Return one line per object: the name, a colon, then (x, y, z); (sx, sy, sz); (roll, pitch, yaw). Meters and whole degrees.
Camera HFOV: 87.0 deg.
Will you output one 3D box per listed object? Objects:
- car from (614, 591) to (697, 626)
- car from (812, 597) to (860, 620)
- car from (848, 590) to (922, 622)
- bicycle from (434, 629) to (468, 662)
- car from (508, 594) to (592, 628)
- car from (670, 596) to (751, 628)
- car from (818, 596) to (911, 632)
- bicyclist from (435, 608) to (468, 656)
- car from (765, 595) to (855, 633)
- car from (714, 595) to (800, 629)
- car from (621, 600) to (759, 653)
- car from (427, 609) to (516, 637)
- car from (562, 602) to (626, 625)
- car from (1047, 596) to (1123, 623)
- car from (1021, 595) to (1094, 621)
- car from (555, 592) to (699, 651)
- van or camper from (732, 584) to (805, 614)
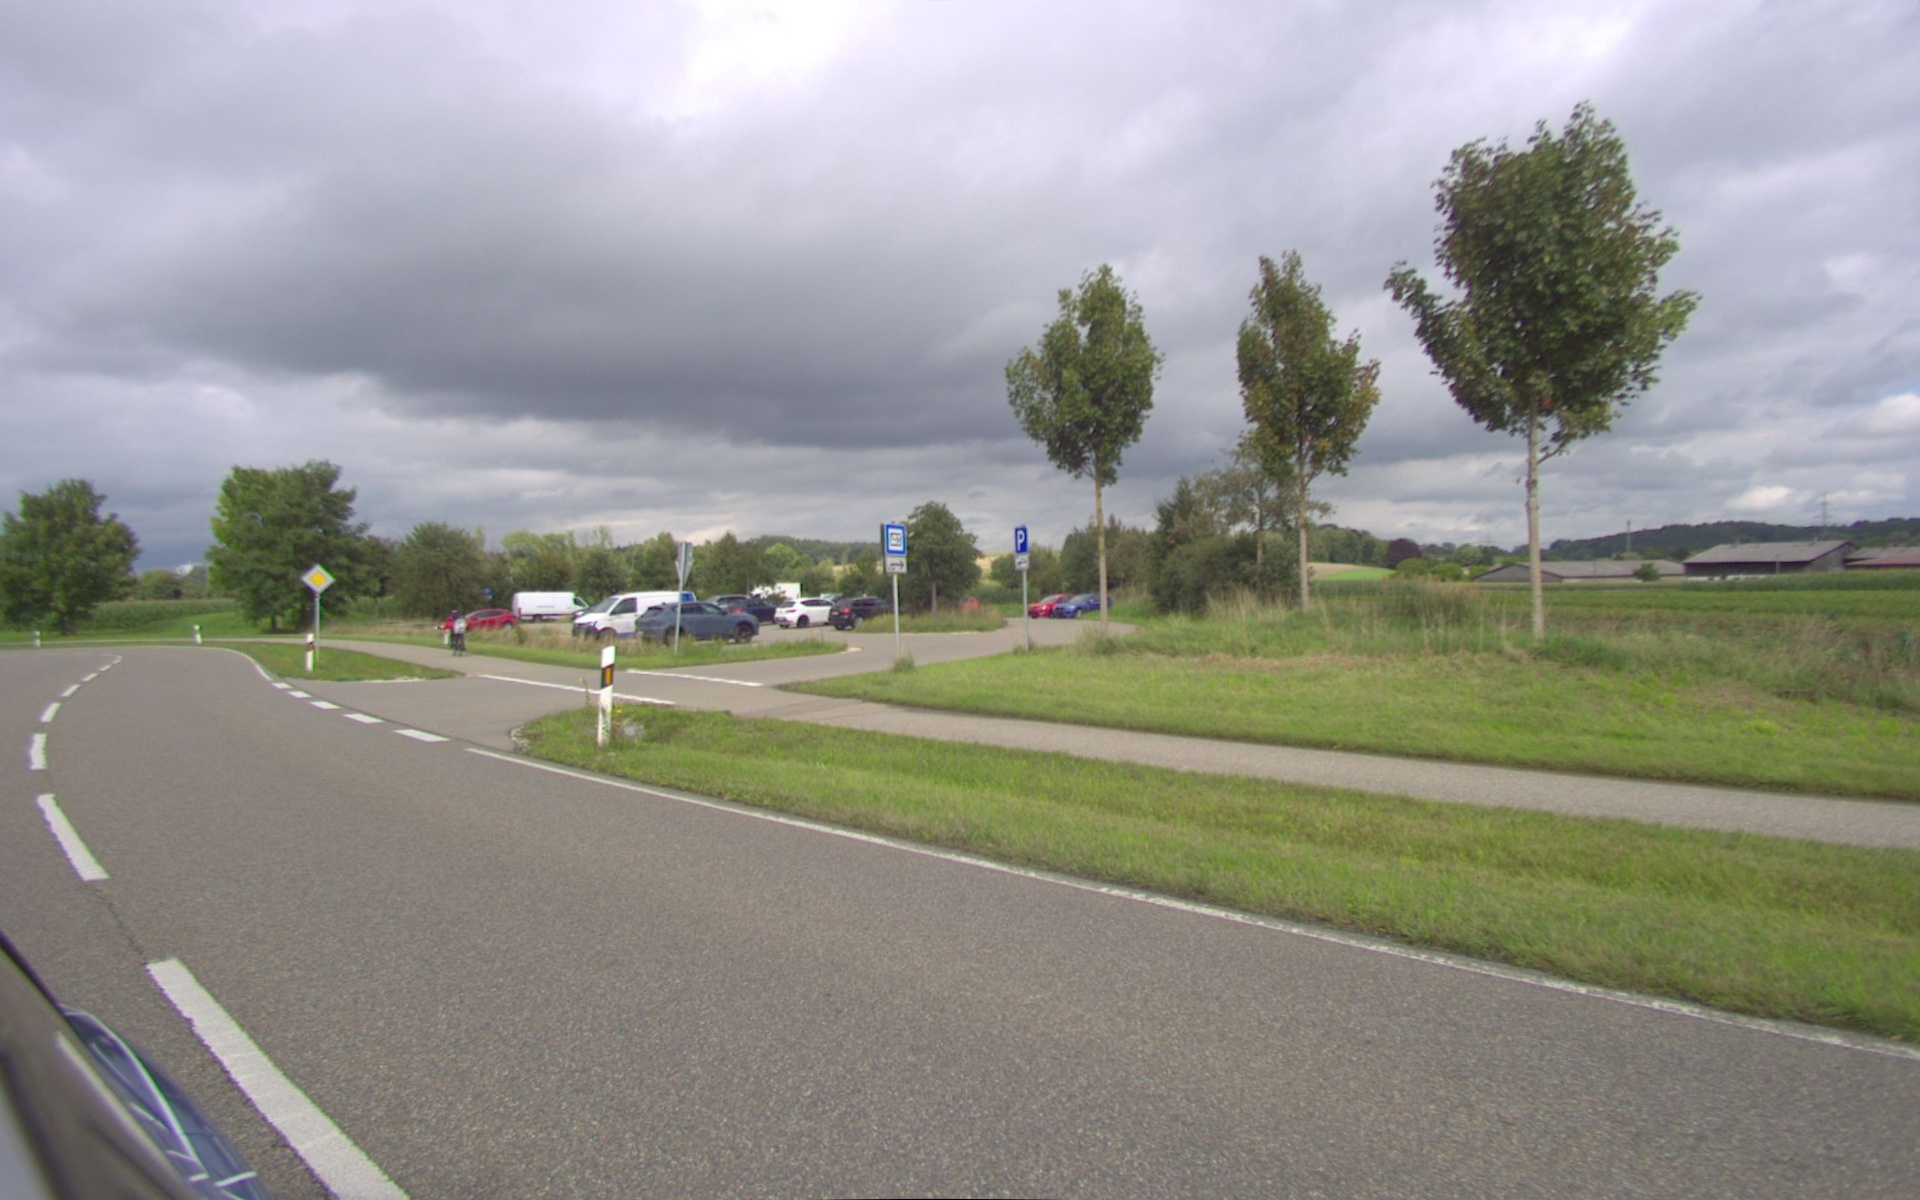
car: (-19.658, 0.547, 65.450); (4.624, 1.940, 2.064); (-4, 2, -41)
car: (-9.320, 0.645, 75.803); (1.966, 1.635, 4.464); (-2, 0, -28)
car: (-3.982, 0.305, 53.644); (3.734, 1.537, 1.780); (-2, 1, -8)
bicycle: (-17.499, 1.538, 34.783); (0.627, 1.040, 2.195); (-2, 0, -37)
car: (-35.247, 0.926, 87.047); (6.235, 2.639, 2.205); (-2, 0, -39)
car: (-14.138, 0.666, 57.334); (3.937, 1.563, 1.969); (-4, 2, -39)
car: (-4.300, 0.621, 45.921); (1.842, 1.397, 3.943); (-2, 2, 44)
bicyclist: (-17.502, 1.098, 34.807); (0.820, 1.577, 1.058); (-2, 0, -35)
car: (-7.353, 0.672, 49.774); (1.966, 1.563, 3.943); (-2, 2, 44)
car: (-10.742, 0.608, 53.550); (3.937, 1.563, 1.969); (-4, 2, -39)
car: (-9.450, 0.898, 35.536); (4.194, 1.607, 2.004); (-2, 0, -39)
car: (-28.329, 1.316, 58.708); (4.309, 1.427, 1.817); (-2, 1, -39)
car: (-26.507, 0.971, 73.304); (3.938, 1.536, 1.796); (-3, 1, -41)
car: (7.123, 0.540, 57.731); (3.931, 1.398, 1.744); (-1, 0, -25)
car: (5.772, 0.457, 59.888); (3.931, 1.398, 1.744); (-1, 0, -25)
car: (-12.839, 0.800, 39.195); (4.833, 2.029, 2.060); (-2, 0, -40)
van or camper: (-17.080, -0.093, 90.394); (5.952, 2.364, 2.291); (-4, 2, -37)
